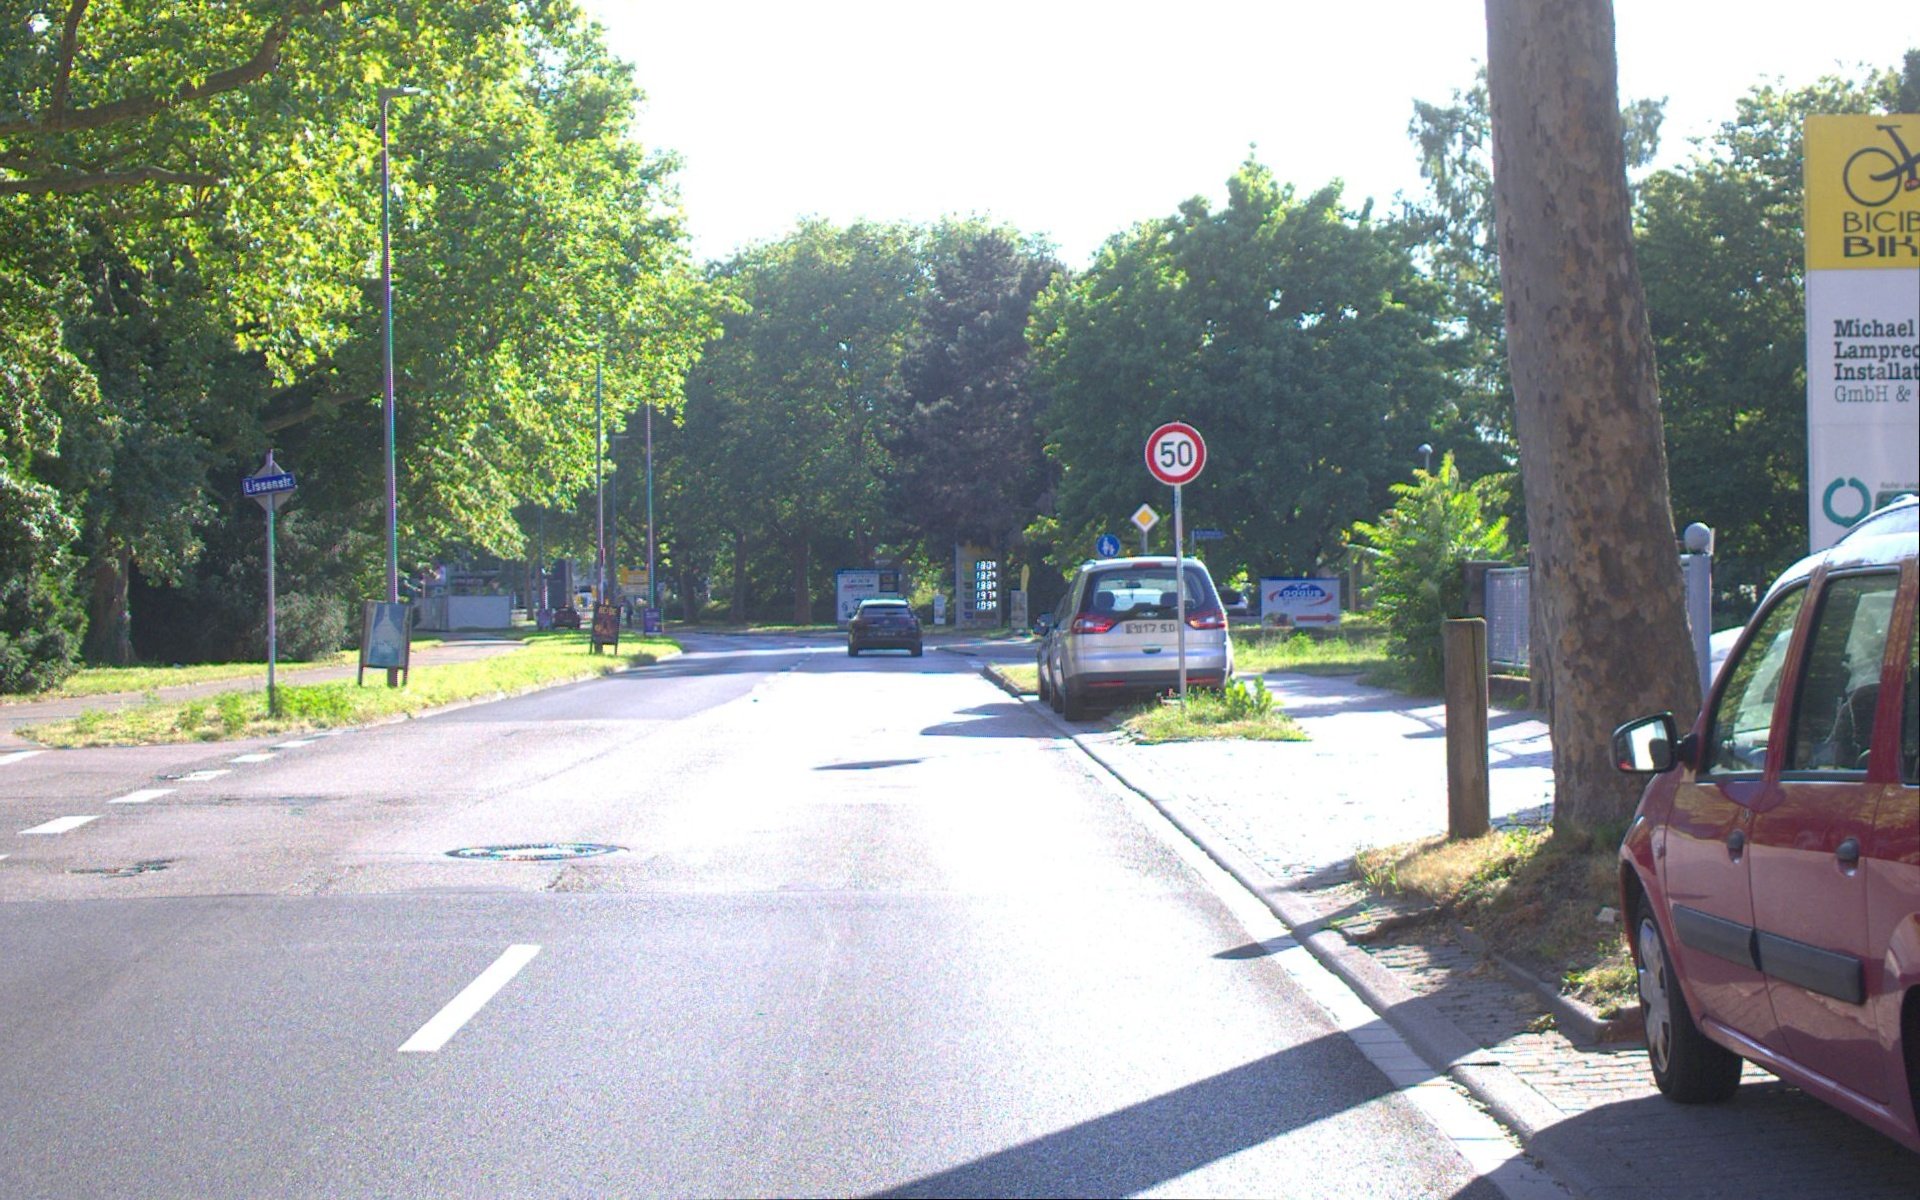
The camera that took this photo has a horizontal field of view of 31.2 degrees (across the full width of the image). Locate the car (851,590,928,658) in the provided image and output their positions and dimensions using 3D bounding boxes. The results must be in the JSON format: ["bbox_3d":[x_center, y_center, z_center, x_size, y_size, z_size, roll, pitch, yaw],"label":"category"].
[{"bbox_3d":[-1.729,0.575,85.193,1.839,1.600,3.863,-1,0,-1],"label":"car"}]

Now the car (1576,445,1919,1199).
[{"bbox_3d":[2.602,0.530,7.835,1.598,1.684,4.336,-1,0,0],"label":"car"}]

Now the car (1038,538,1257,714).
[{"bbox_3d":[2.014,0.273,38.419,1.993,1.753,4.917,-2,0,-1],"label":"car"}]

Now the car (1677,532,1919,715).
[{"bbox_3d":[8.593,0.176,30.679,3.987,1.554,1.841,-1,1,1],"label":"car"}]
